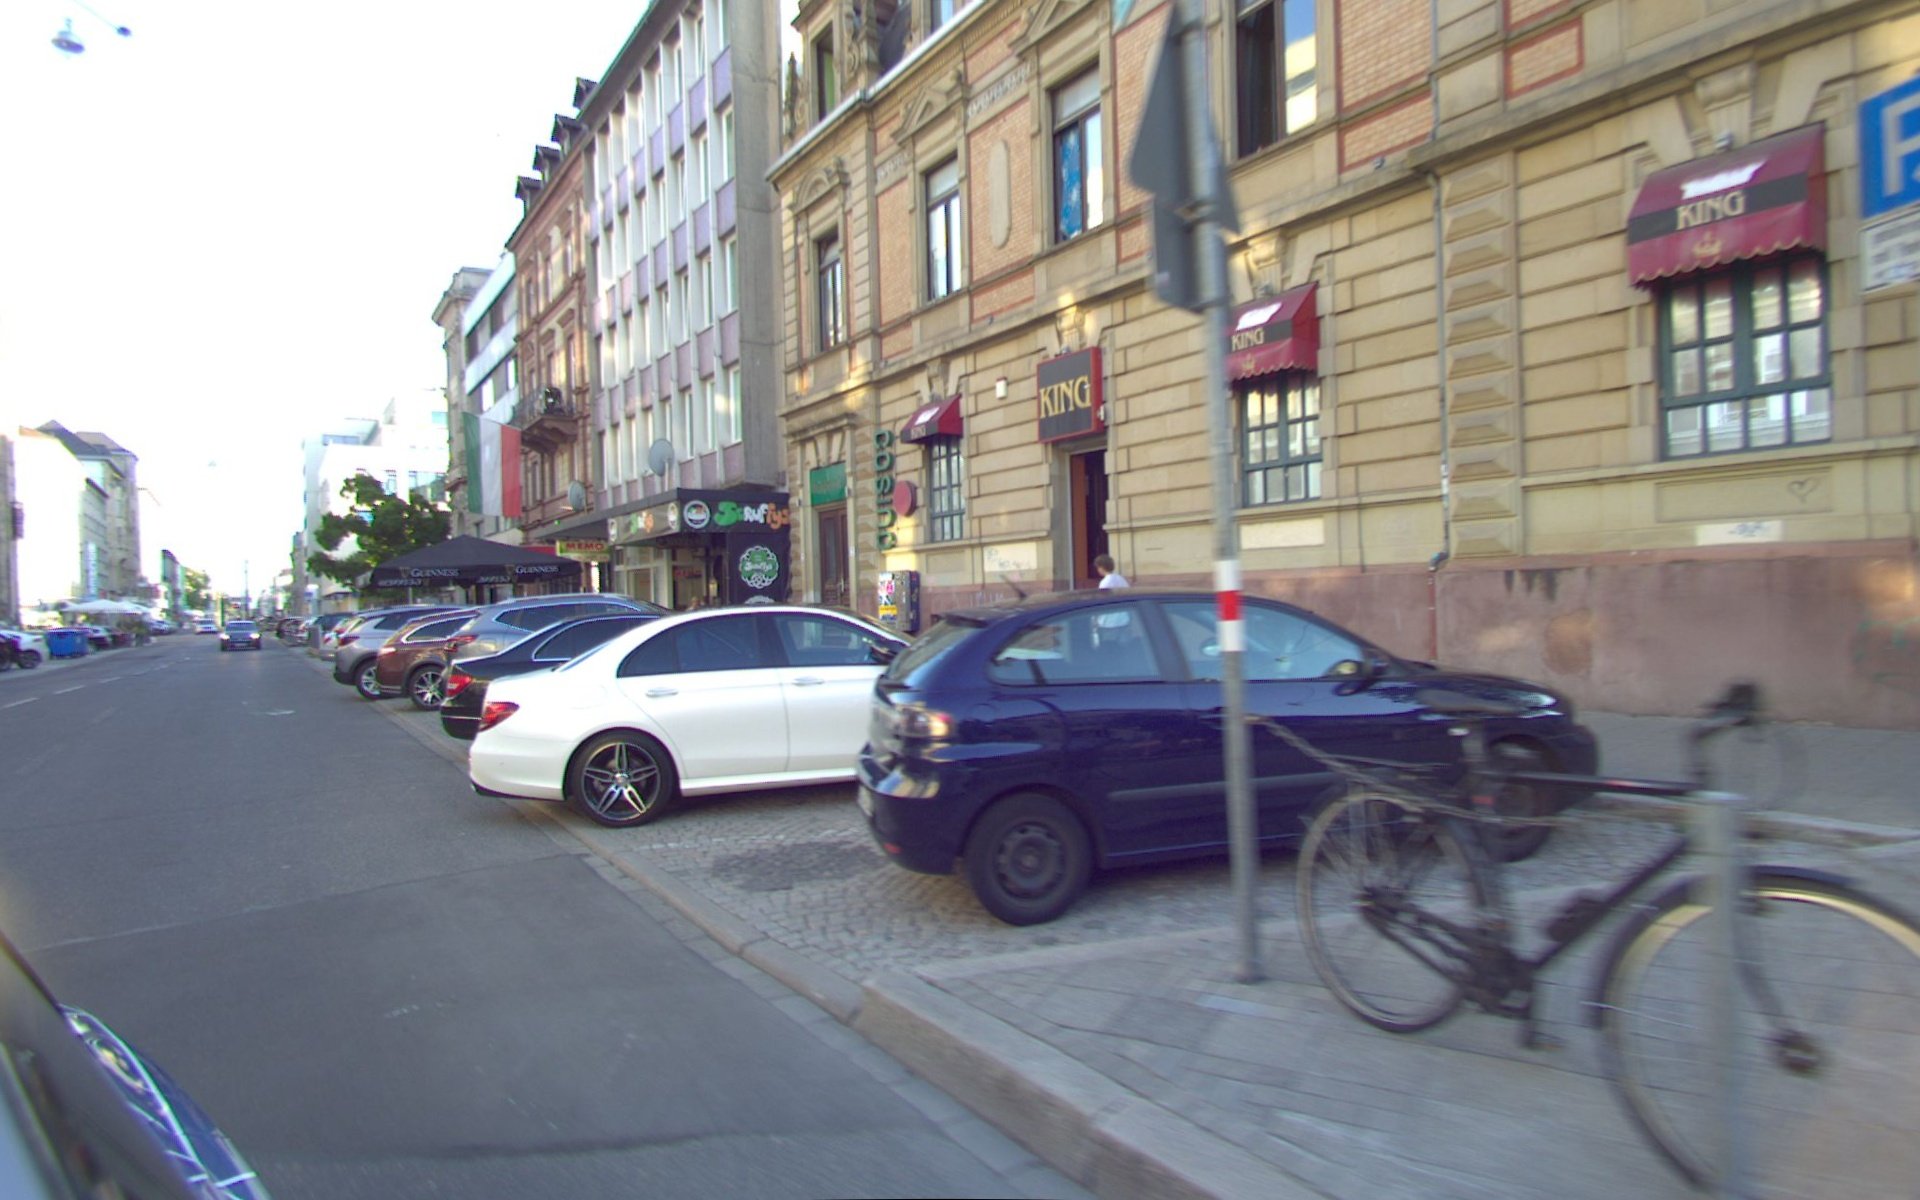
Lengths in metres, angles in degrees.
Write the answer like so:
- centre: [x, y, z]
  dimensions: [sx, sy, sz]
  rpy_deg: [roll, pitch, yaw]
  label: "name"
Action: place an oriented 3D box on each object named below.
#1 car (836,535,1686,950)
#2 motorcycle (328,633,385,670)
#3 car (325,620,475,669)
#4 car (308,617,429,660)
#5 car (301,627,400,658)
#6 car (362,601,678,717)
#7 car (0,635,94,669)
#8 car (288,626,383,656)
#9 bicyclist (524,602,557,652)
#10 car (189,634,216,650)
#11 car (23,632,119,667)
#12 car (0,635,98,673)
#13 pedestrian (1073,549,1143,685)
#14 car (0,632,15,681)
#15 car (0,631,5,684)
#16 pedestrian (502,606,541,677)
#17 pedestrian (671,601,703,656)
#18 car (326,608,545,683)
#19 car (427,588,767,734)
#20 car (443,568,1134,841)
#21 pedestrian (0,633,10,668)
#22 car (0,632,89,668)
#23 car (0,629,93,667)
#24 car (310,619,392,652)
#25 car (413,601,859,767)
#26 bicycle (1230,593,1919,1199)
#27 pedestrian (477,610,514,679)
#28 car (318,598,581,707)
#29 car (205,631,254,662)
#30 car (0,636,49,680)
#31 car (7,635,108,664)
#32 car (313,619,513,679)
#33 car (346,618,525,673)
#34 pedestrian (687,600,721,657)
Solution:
- centre: [1.370, 0.563, 5.312]
  dimensions: [3.800, 1.472, 1.745]
  rpy_deg: [-4, 0, -11]
  label: "car"
- centre: [-20.145, 1.709, 33.820]
  dimensions: [1.560, 1.166, 0.459]
  rpy_deg: [-2, 0, -20]
  label: "motorcycle"
- centre: [-20.827, 1.612, 37.736]
  dimensions: [4.760, 1.579, 1.914]
  rpy_deg: [-2, -1, -31]
  label: "car"
- centre: [-27.788, 1.805, 47.736]
  dimensions: [4.758, 1.787, 1.914]
  rpy_deg: [-2, -1, -27]
  label: "car"
- centre: [-32.302, 2.231, 53.780]
  dimensions: [4.349, 1.436, 1.914]
  rpy_deg: [-2, -1, -27]
  label: "car"
- centre: [-6.786, 0.876, 15.979]
  dimensions: [4.231, 1.560, 1.712]
  rpy_deg: [-2, 0, -4]
  label: "car"
- centre: [-46.250, 2.588, 50.574]
  dimensions: [1.747, 1.484, 4.185]
  rpy_deg: [-2, -1, 30]
  label: "car"
- centre: [-34.695, 2.266, 56.394]
  dimensions: [4.349, 1.436, 1.914]
  rpy_deg: [-2, -1, -27]
  label: "car"
- centre: [-13.560, 0.868, 32.685]
  dimensions: [0.755, 1.571, 0.815]
  rpy_deg: [-2, 0, -36]
  label: "bicyclist"
- centre: [-73.472, 4.070, 98.225]
  dimensions: [1.876, 1.436, 4.437]
  rpy_deg: [-1, -1, -34]
  label: "car"
- centre: [-51.295, 2.863, 58.463]
  dimensions: [1.747, 1.737, 3.798]
  rpy_deg: [-3, 0, 30]
  label: "car"
- centre: [-41.733, 2.432, 45.502]
  dimensions: [1.744, 1.484, 4.193]
  rpy_deg: [-2, 0, 25]
  label: "car"
- centre: [1.824, 0.204, 12.507]
  dimensions: [0.569, 1.621, 0.523]
  rpy_deg: [-3, 0, -34]
  label: "pedestrian"
- centre: [-33.690, 1.956, 32.771]
  dimensions: [1.744, 1.629, 4.193]
  rpy_deg: [-2, 0, 25]
  label: "car"
- centre: [-32.134, 1.865, 30.767]
  dimensions: [1.741, 1.689, 4.199]
  rpy_deg: [-2, 0, 21]
  label: "car"
- centre: [-9.093, 0.860, 20.980]
  dimensions: [0.567, 1.427, 0.677]
  rpy_deg: [-1, -1, -36]
  label: "pedestrian"
- centre: [-6.690, 0.695, 24.800]
  dimensions: [0.565, 1.318, 0.577]
  rpy_deg: [-1, -1, -34]
  label: "pedestrian"
- centre: [-13.746, 1.163, 26.771]
  dimensions: [4.765, 1.746, 1.912]
  rpy_deg: [-2, -1, -8]
  label: "car"
- centre: [-4.614, 0.759, 13.419]
  dimensions: [3.985, 1.669, 1.797]
  rpy_deg: [-1, -1, -10]
  label: "car"
- centre: [-1.191, 0.676, 7.755]
  dimensions: [4.556, 1.523, 1.772]
  rpy_deg: [-3, 0, -7]
  label: "car"
- centre: [-51.582, 2.717, 54.157]
  dimensions: [0.836, 1.813, 1.016]
  rpy_deg: [-2, -1, -30]
  label: "pedestrian"
- centre: [-55.116, 2.959, 60.548]
  dimensions: [1.747, 1.896, 4.185]
  rpy_deg: [-2, -1, 30]
  label: "car"
- centre: [-48.078, 2.495, 52.928]
  dimensions: [1.747, 1.766, 3.798]
  rpy_deg: [-2, -1, 30]
  label: "car"
- centre: [-39.146, 2.265, 65.167]
  dimensions: [4.349, 1.977, 1.914]
  rpy_deg: [-2, -1, -27]
  label: "car"
- centre: [-3.249, 0.812, 10.750]
  dimensions: [4.183, 1.458, 1.714]
  rpy_deg: [-1, -1, -10]
  label: "car"
- centre: [1.587, 0.586, 2.441]
  dimensions: [0.716, 1.134, 1.809]
  rpy_deg: [-5, 1, -27]
  label: "bicycle"
- centre: [-9.959, 0.949, 21.686]
  dimensions: [0.567, 1.427, 0.677]
  rpy_deg: [-1, -1, -36]
  label: "pedestrian"
- centre: [-9.277, 0.909, 18.756]
  dimensions: [3.984, 1.641, 1.858]
  rpy_deg: [-3, 0, -14]
  label: "car"
- centre: [-37.533, 2.362, 52.062]
  dimensions: [1.876, 1.436, 4.437]
  rpy_deg: [-1, -1, -34]
  label: "car"
- centre: [-34.973, 2.122, 35.454]
  dimensions: [1.744, 1.484, 4.193]
  rpy_deg: [-2, 0, 25]
  label: "car"
- centre: [-49.615, 2.709, 55.724]
  dimensions: [1.732, 1.357, 3.798]
  rpy_deg: [-3, 0, 30]
  label: "car"
- centre: [-15.846, 1.385, 29.523]
  dimensions: [4.767, 1.516, 1.911]
  rpy_deg: [-2, -1, -6]
  label: "car"
- centre: [-16.670, 1.413, 32.413]
  dimensions: [4.761, 1.516, 1.913]
  rpy_deg: [-2, -1, -14]
  label: "car"
- centre: [-6.047, 0.675, 23.900]
  dimensions: [0.565, 1.318, 0.577]
  rpy_deg: [-1, -1, -34]
  label: "pedestrian"
